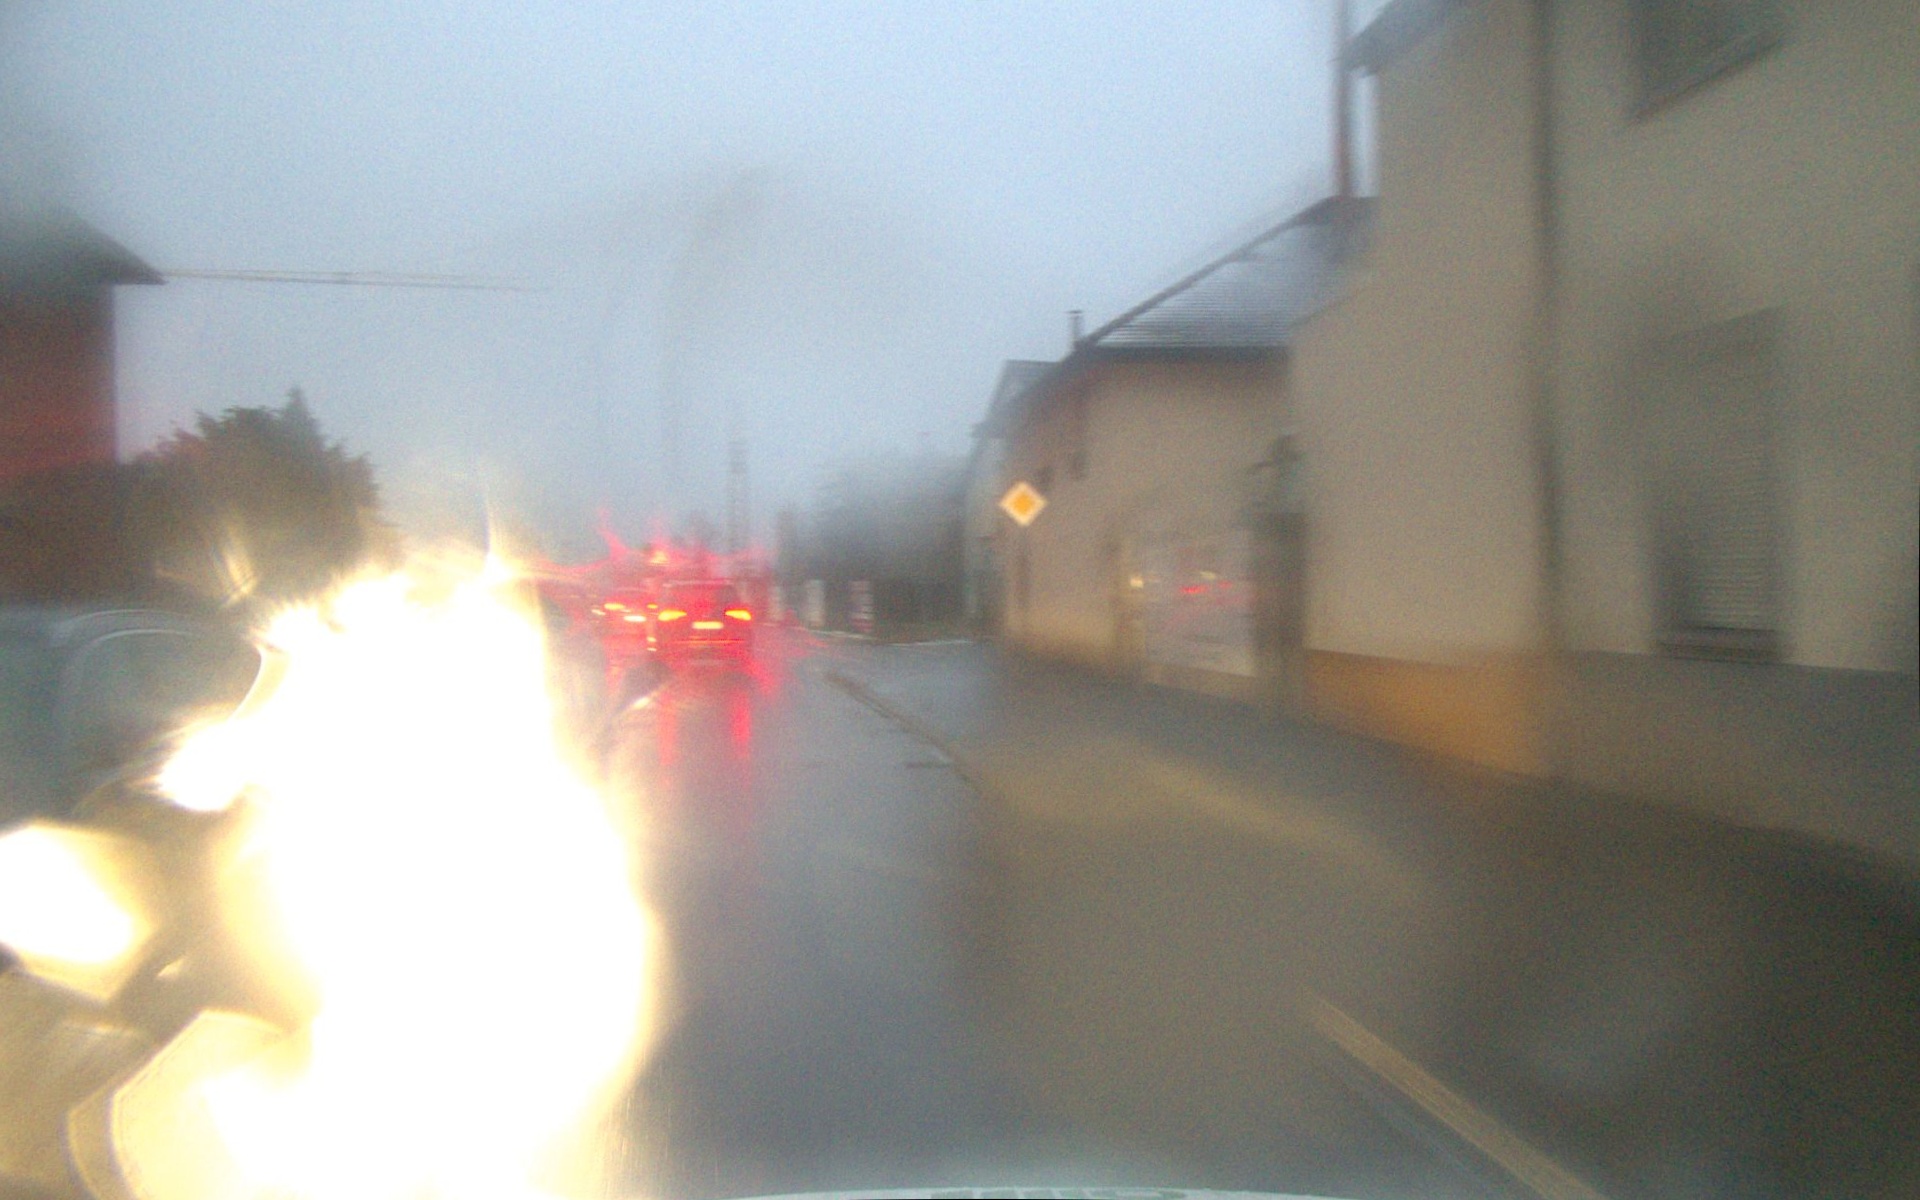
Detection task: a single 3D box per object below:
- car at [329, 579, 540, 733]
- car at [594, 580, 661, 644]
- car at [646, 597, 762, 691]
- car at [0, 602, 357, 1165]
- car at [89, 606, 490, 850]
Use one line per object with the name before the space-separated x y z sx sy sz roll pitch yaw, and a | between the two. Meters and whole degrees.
car | -6.320 0.578 20.359 1.842 1.613 4.280 -2 1 -10
car | -10.616 0.347 52.820 1.958 1.914 3.989 -2 1 -12
car | -4.953 0.802 31.652 2.010 1.600 4.691 -1 0 -10
car | -3.597 0.774 5.641 1.844 1.418 4.517 -2 1 -7
car | -4.780 0.799 12.464 1.791 1.397 4.277 -2 1 -9
